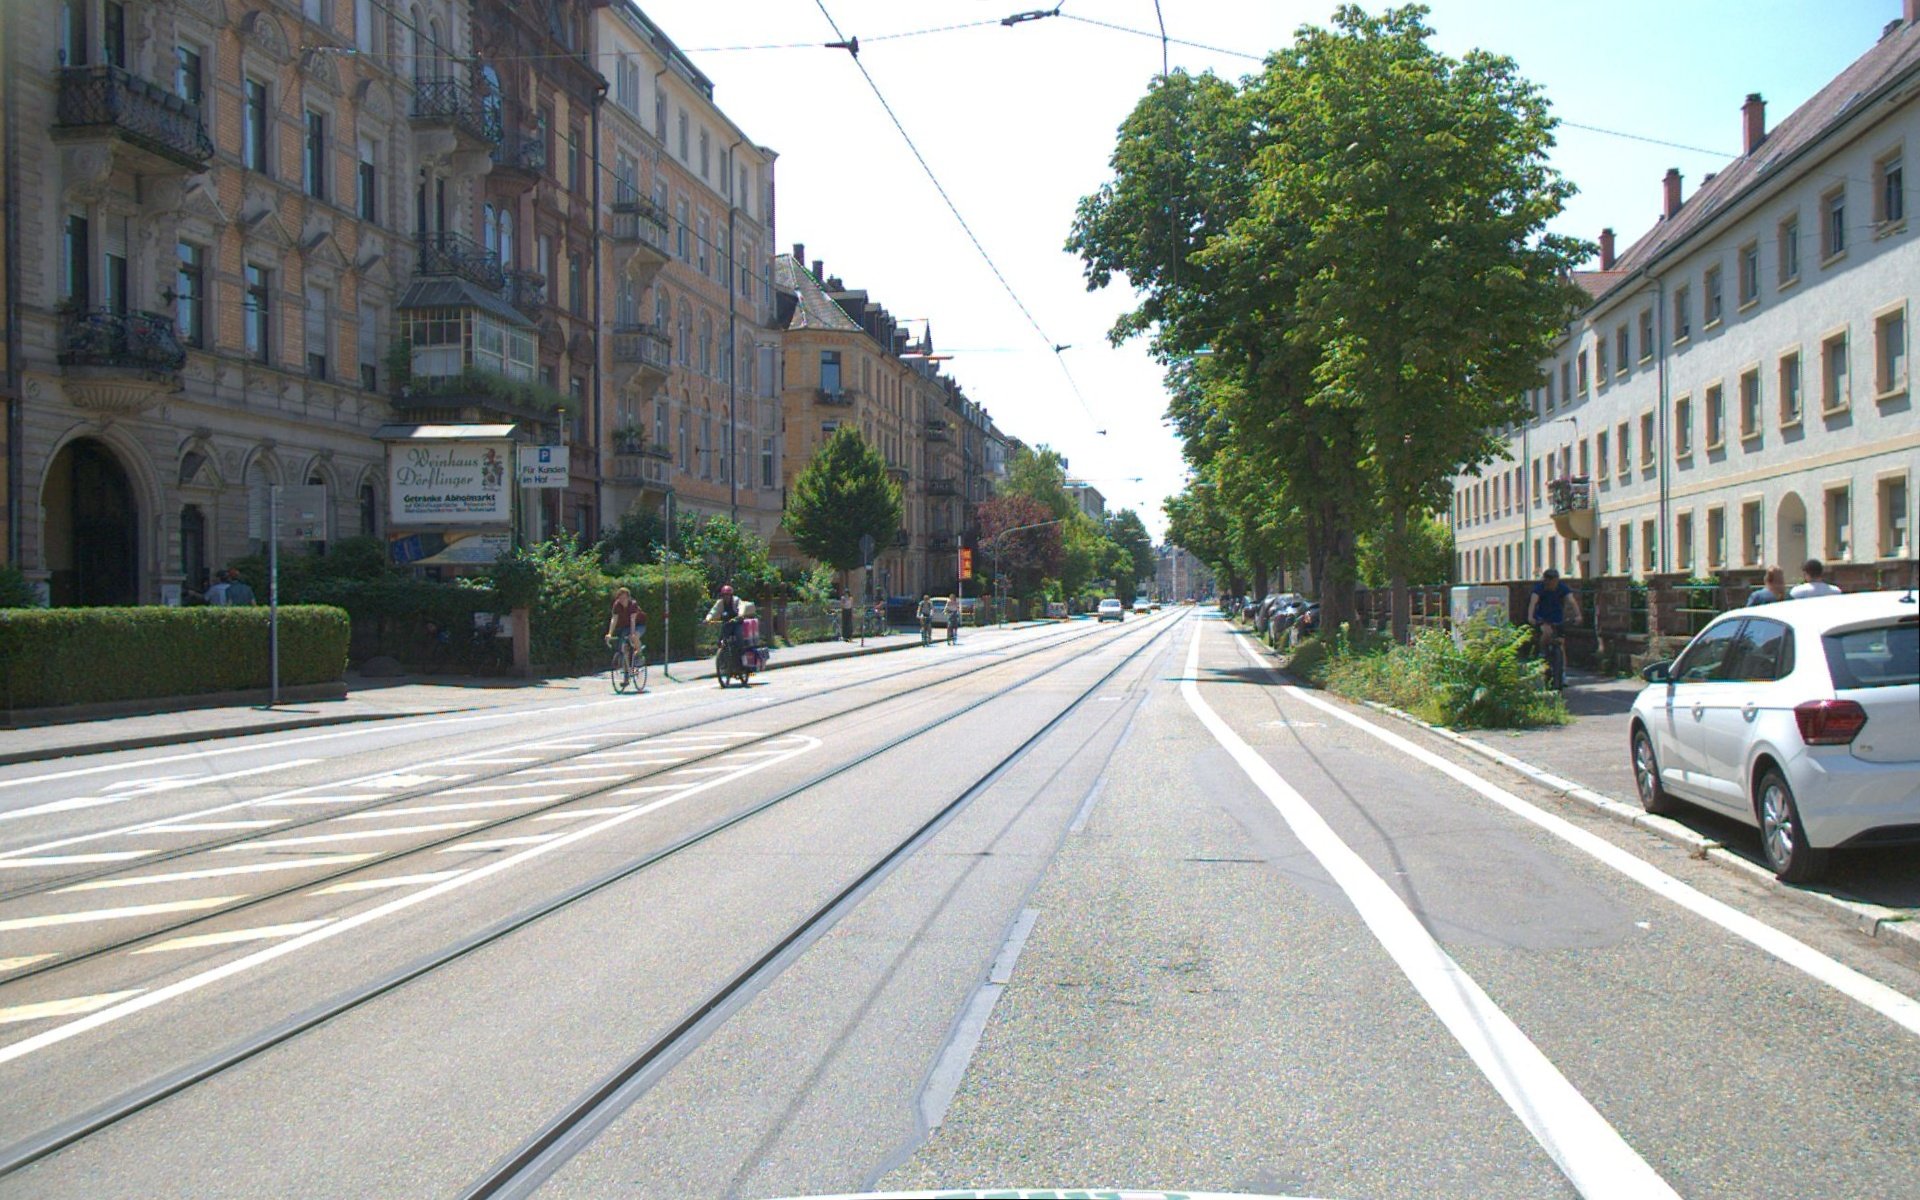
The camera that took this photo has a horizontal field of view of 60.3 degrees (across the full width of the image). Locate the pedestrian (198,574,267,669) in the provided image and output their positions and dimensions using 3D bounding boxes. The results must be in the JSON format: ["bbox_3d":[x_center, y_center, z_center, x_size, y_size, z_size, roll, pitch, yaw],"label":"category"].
[{"bbox_3d":[-13.386,0.386,30.426,0.893,1.730,0.821,-1,0,35],"label":"pedestrian"}]

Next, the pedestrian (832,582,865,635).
[{"bbox_3d":[-3.805,0.270,56.443,0.833,1.753,1.139,2,0,9],"label":"pedestrian"}]

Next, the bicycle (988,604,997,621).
[{"bbox_3d":[1.953,0.743,98.868,0.444,1.021,1.808,0,0,5],"label":"bicycle"}]

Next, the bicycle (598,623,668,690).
[{"bbox_3d":[-5.534,0.937,28.108,0.555,1.056,1.830,-1,0,9],"label":"bicycle"}]

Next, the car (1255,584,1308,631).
[{"bbox_3d":[12.245,0.271,62.952,1.906,1.679,4.884,-1,1,11],"label":"car"}]

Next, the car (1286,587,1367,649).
[{"bbox_3d":[9.640,0.432,43.730,1.621,1.541,4.003,-1,0,6],"label":"car"}]

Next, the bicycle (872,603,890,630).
[{"bbox_3d":[-3.068,0.642,64.095,0.429,1.000,1.712,0,0,7],"label":"bicycle"}]

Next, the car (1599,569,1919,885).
[{"bbox_3d":[5.412,0.597,10.121,1.740,1.435,4.160,-5,0,7],"label":"car"}]

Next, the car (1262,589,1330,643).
[{"bbox_3d":[10.568,0.462,52.226,1.696,1.579,4.457,-1,0,6],"label":"car"}]

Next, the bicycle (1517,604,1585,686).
[{"bbox_3d":[8.131,0.600,22.800,0.589,1.069,1.824,-1,0,10],"label":"bicycle"}]

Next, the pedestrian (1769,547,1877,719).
[{"bbox_3d":[8.918,0.333,17.114,0.682,1.698,0.757,-3,0,7],"label":"pedestrian"}]

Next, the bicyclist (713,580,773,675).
[{"bbox_3d":[-3.880,0.486,29.629,0.790,1.658,0.981,-1,0,9],"label":"bicyclist"}]

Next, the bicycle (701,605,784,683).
[{"bbox_3d":[-3.870,0.762,29.669,0.790,1.294,2.553,-1,0,9],"label":"bicycle"}]

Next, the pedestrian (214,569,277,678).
[{"bbox_3d":[-12.611,0.405,29.186,0.809,1.889,0.866,-1,0,-40],"label":"pedestrian"}]

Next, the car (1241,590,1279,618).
[{"bbox_3d":[16.665,0.220,92.053,1.731,1.451,4.865,-1,1,6],"label":"car"}]

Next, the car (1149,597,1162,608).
[{"bbox_3d":[26.396,0.293,223.493,1.650,1.480,3.751,0,0,8],"label":"car"}]

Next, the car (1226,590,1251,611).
[{"bbox_3d":[21.671,0.056,128.760,1.736,1.527,4.309,-2,0,7],"label":"car"}]

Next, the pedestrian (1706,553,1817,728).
[{"bbox_3d":[8.140,0.401,16.832,0.682,1.698,0.870,-3,0,7],"label":"pedestrian"}]

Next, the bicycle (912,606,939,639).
[{"bbox_3d":[-1.211,0.795,57.876,0.615,1.097,1.877,-2,0,8],"label":"bicycle"}]

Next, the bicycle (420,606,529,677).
[{"bbox_3d":[-9.012,0.756,30.717,1.831,1.249,0.569,1,0,6],"label":"bicycle"}]

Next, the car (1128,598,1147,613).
[{"bbox_3d":[18.276,0.557,170.502,1.718,1.449,4.003,-1,0,9],"label":"car"}]

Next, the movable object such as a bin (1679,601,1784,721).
[{"bbox_3d":[8.274,0.635,17.782,0.682,1.206,1.037,-3,0,7],"label":"movable object such as a bin"}]

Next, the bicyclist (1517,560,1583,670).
[{"bbox_3d":[8.131,0.200,22.822,0.696,1.477,1.011,-1,0,10],"label":"bicyclist"}]

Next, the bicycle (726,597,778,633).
[{"bbox_3d":[-6.336,0.450,50.453,1.477,1.062,0.495,-1,0,10],"label":"bicycle"}]

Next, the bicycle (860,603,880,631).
[{"bbox_3d":[-3.374,0.629,62.074,0.429,1.000,1.712,0,0,7],"label":"bicycle"}]

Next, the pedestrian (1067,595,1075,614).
[{"bbox_3d":[9.899,0.393,147.183,0.735,1.657,0.834,0,0,4],"label":"pedestrian"}]

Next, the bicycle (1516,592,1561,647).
[{"bbox_3d":[13.650,0.437,39.049,0.584,1.230,1.971,-3,0,8],"label":"bicycle"}]

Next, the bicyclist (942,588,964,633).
[{"bbox_3d":[-0.242,0.366,57.960,0.580,1.571,0.953,-2,0,8],"label":"bicyclist"}]

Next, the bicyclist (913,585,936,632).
[{"bbox_3d":[-1.236,0.287,57.821,0.620,1.612,1.029,-2,0,8],"label":"bicyclist"}]

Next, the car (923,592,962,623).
[{"bbox_3d":[-0.915,0.375,90.127,1.826,1.628,4.103,1,0,3],"label":"car"}]

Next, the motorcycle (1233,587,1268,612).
[{"bbox_3d":[18.853,-0.048,107.383,0.861,1.567,2.288,0,0,-38],"label":"motorcycle"}]

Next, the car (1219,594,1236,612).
[{"bbox_3d":[32.612,0.357,201.518,1.951,2.071,4.701,-1,0,8],"label":"car"}]

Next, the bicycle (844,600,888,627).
[{"bbox_3d":[-3.729,0.533,65.566,1.669,1.055,0.551,0,0,13],"label":"bicycle"}]

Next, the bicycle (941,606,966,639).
[{"bbox_3d":[-0.231,0.775,57.943,0.569,1.097,1.892,-2,0,8],"label":"bicycle"}]

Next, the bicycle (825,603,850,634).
[{"bbox_3d":[-4.202,0.637,56.992,0.486,1.004,1.712,3,1,7],"label":"bicycle"}]

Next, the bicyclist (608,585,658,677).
[{"bbox_3d":[-5.544,0.518,28.078,0.550,1.542,0.892,-1,0,9],"label":"bicyclist"}]

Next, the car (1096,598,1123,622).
[{"bbox_3d":[10.063,0.662,111.195,1.649,1.475,4.003,-1,0,8],"label":"car"}]
